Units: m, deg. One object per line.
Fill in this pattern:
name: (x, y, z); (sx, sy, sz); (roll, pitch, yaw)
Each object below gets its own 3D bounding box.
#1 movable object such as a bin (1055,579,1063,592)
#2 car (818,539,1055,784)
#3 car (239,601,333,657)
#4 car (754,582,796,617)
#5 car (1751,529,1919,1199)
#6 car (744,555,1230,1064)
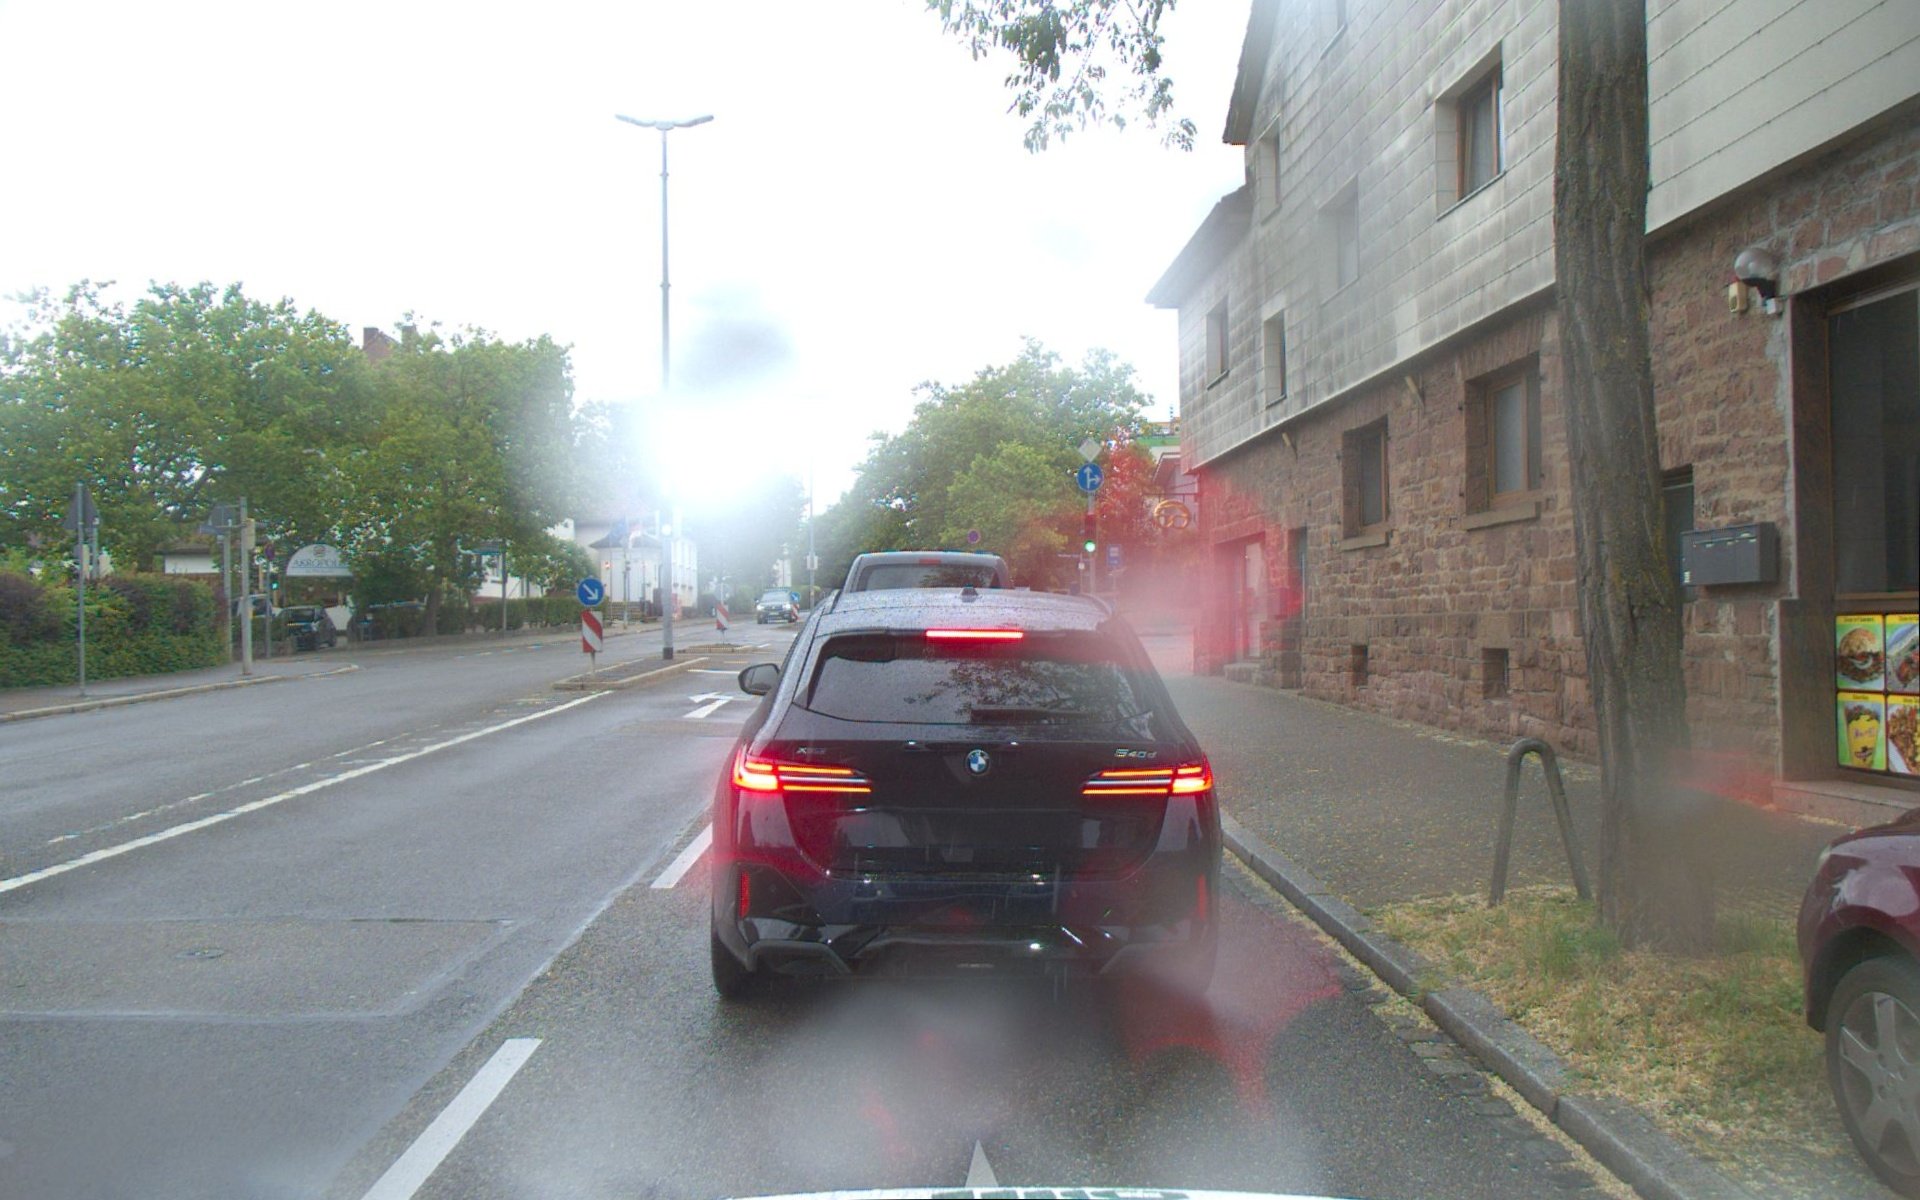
movable object such as a bin: (6.888, -1.011, 115.388); (0.440, 0.921, 0.463); (1, -1, 14)
car: (-0.294, 0.478, 14.479); (1.776, 1.840, 3.753); (1, 0, -4)
car: (-23.130, 0.980, 56.911); (1.772, 1.578, 4.000); (1, 4, -3)
car: (-9.080, -0.062, 81.437); (1.861, 1.604, 4.499); (-1, 1, -4)
car: (3.062, 0.578, 2.686); (1.578, 1.530, 3.753); (1, -2, -4)
car: (-0.020, 0.662, 6.899); (1.494, 1.561, 3.529); (1, 0, -4)
